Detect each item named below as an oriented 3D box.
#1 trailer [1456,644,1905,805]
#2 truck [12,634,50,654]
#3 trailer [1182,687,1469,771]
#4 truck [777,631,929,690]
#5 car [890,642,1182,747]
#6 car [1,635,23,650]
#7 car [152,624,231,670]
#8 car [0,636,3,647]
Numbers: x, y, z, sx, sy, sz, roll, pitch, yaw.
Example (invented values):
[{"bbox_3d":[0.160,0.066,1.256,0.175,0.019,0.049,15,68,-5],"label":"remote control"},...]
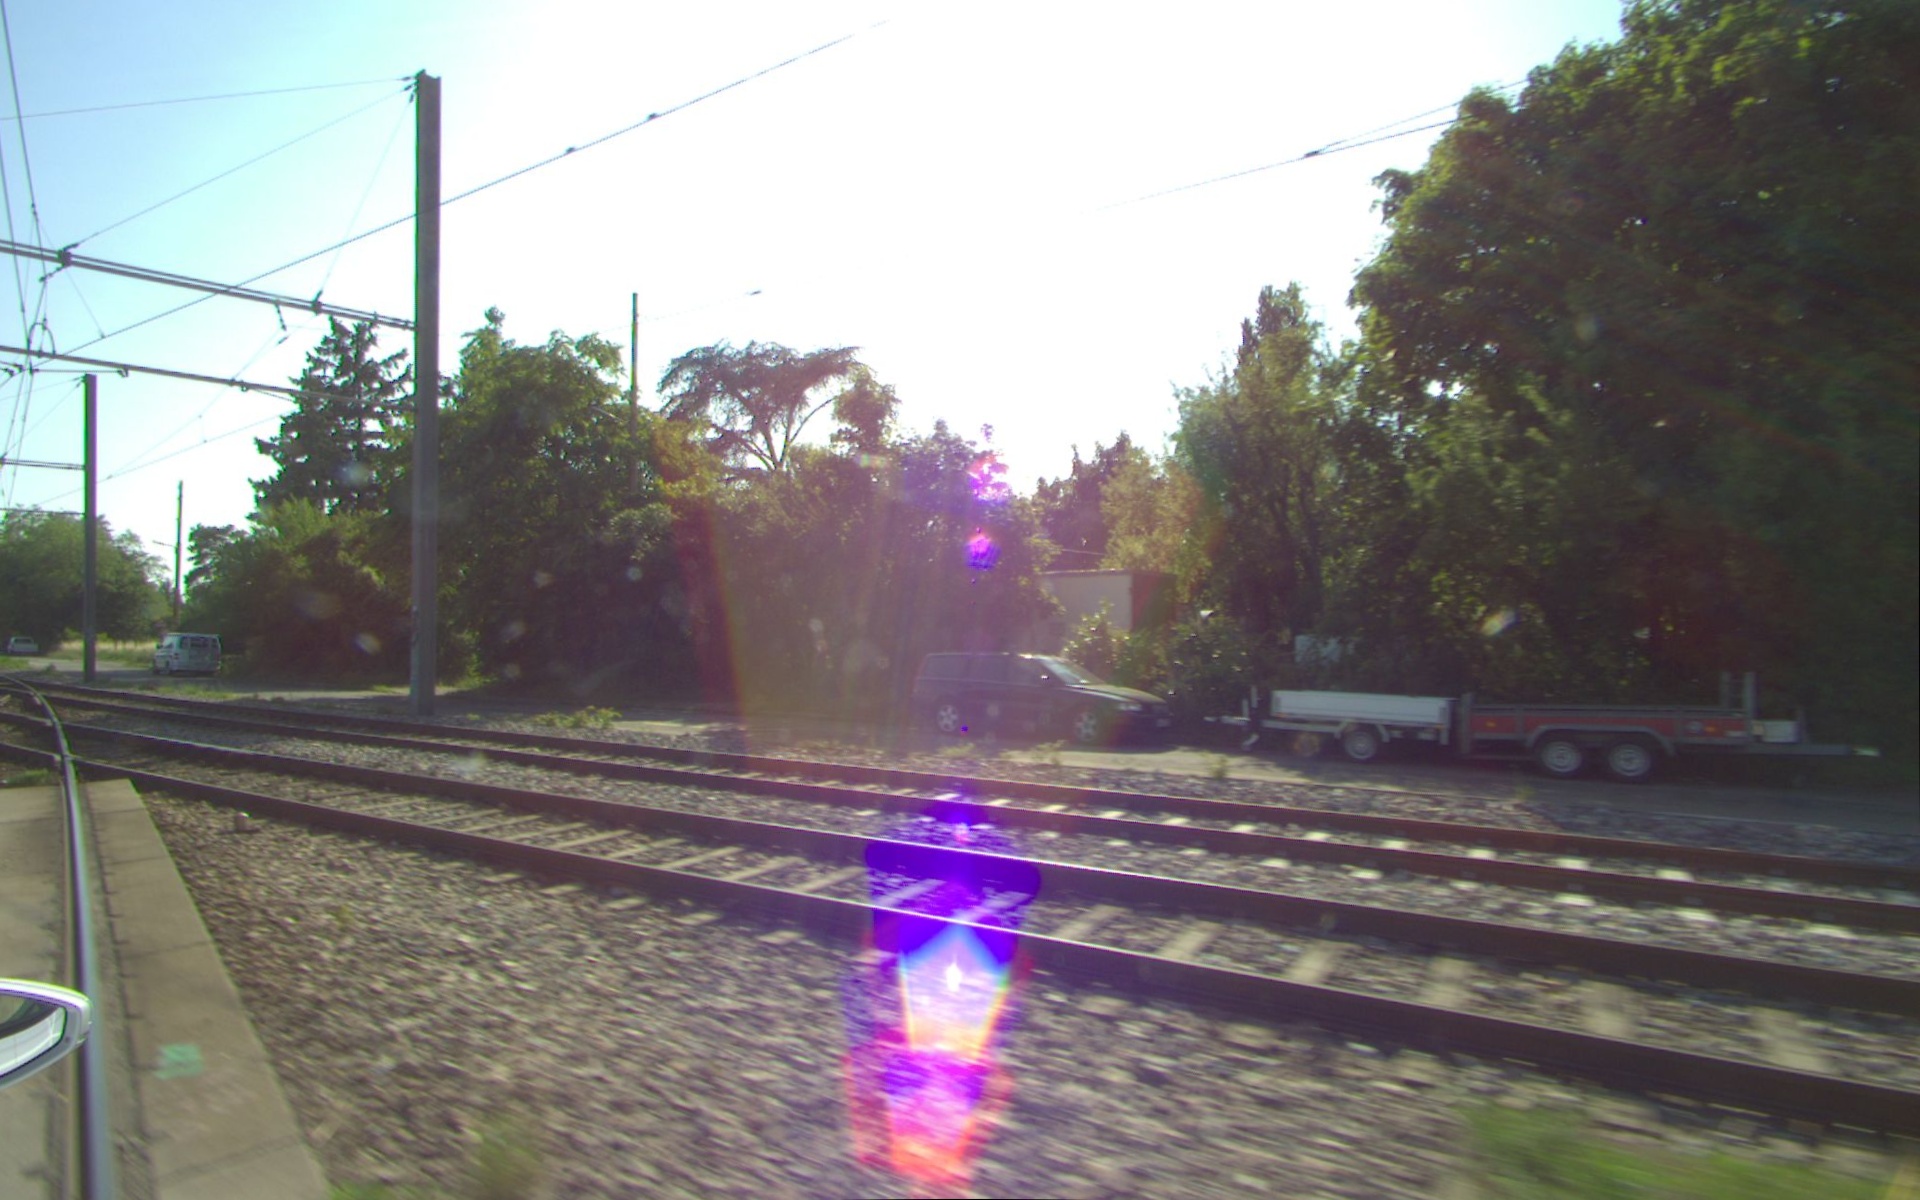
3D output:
[{"bbox_3d":[8.596,1.415,12.421,4.199,1.616,2.024,-1,-4,33],"label":"trailer"},{"bbox_3d":[-91.101,4.275,98.164,5.864,1.842,2.193,-1,-2,42],"label":"truck"},{"bbox_3d":[5.344,1.829,14.737,3.676,0.950,1.729,-1,-5,34],"label":"trailer"},{"bbox_3d":[-3.797,2.065,35.010,5.336,1.878,1.988,-1,-2,35],"label":"truck"},{"bbox_3d":[1.203,1.546,17.218,4.816,1.474,1.695,0,-4,36],"label":"car"},{"bbox_3d":[-111.162,4.961,117.410,1.725,1.700,3.510,3,-5,-45],"label":"car"},{"bbox_3d":[-36.373,2.206,47.352,5.011,2.029,1.985,-1,-5,42],"label":"car"},{"bbox_3d":[-124.625,5.330,129.046,3.453,1.415,1.613,-3,-5,43],"label":"car"}]
